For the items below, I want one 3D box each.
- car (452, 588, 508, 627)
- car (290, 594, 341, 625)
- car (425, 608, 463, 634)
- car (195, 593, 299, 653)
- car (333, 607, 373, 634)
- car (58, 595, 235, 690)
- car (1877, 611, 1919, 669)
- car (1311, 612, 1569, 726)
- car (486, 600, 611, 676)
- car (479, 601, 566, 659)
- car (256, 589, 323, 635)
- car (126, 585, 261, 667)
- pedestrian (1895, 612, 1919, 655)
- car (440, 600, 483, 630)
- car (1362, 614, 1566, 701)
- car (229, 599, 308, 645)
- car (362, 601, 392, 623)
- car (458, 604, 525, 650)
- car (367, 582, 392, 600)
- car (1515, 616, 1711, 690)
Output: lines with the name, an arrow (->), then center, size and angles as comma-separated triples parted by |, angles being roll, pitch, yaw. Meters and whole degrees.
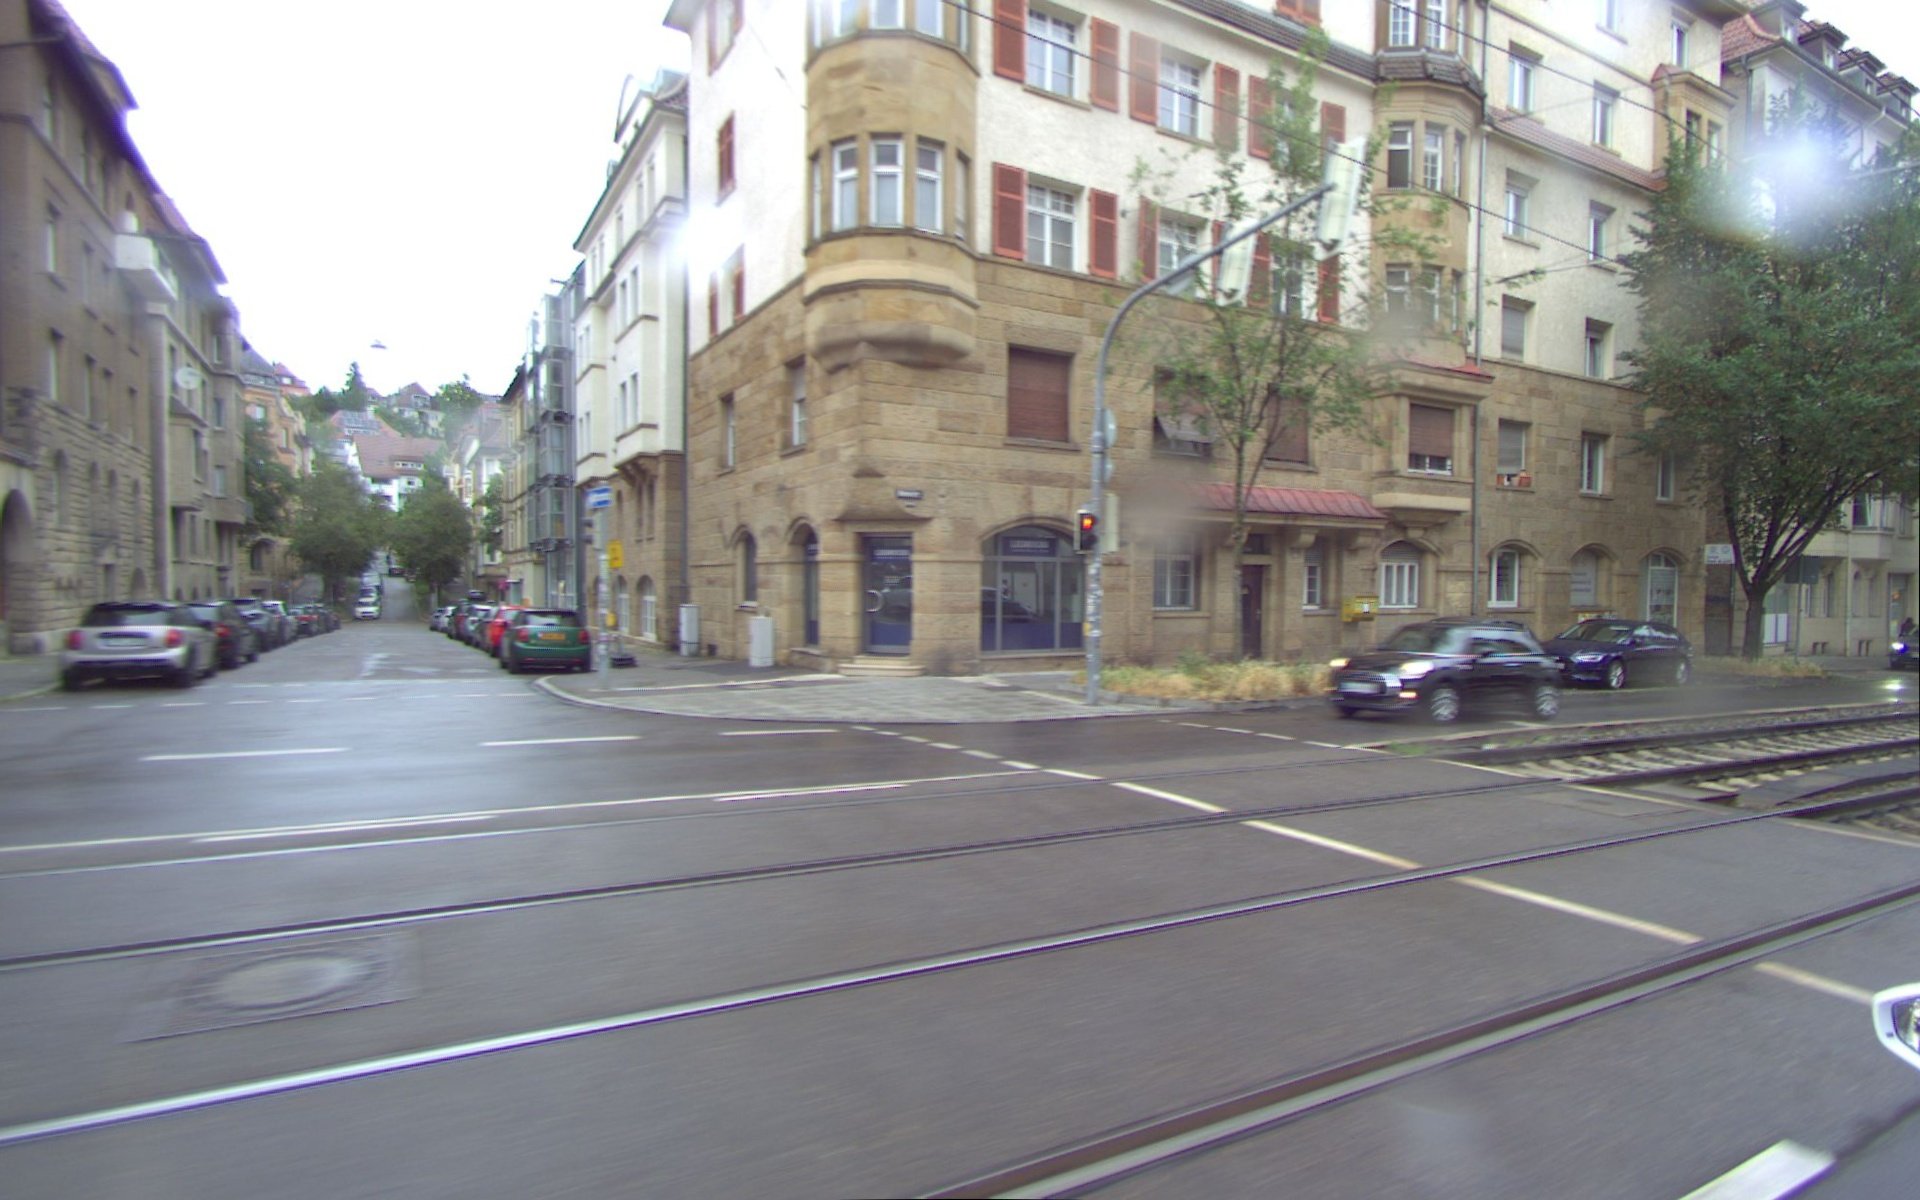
car -> -21.239, 0.316, 44.370 | 1.976, 1.595, 3.969 | 2, -1, -29
car -> -34.650, 0.502, 54.107 | 1.976, 1.595, 3.969 | 2, -1, -29
car -> -32.889, 1.320, 63.981 | 1.976, 1.595, 3.969 | 2, -1, -29
car -> -20.572, 0.652, 29.149 | 1.976, 1.595, 3.969 | 2, -1, -29
car -> -38.545, 1.257, 63.882 | 1.976, 1.595, 3.969 | 2, -1, -29
car -> -14.300, 0.692, 17.896 | 1.726, 1.486, 3.969 | 2, -1, -29
car -> 32.513, 1.344, 33.217 | 4.725, 1.765, 1.942 | 1, 3, -32
car -> 7.073, 0.954, 14.748 | 3.690, 1.482, 1.645 | 1, -1, -30
car -> -9.570, 0.825, 23.200 | 1.979, 1.595, 3.964 | 2, -1, -33
car -> -13.024, 0.853, 29.774 | 1.976, 1.595, 3.969 | 2, -1, -29
car -> -29.612, 0.522, 44.462 | 2.046, 1.932, 3.969 | 2, -1, -29
car -> -16.502, 0.530, 21.818 | 1.979, 1.595, 3.963 | 2, -1, -33
pedestrian -> 38.049, 1.344, 40.181 | 0.762, 1.685, 0.724 | 1, 1, -30
car -> -28.164, 0.843, 56.745 | 1.976, 1.595, 3.969 | 2, -1, -29
car -> 9.983, 1.112, 19.836 | 4.129, 1.549, 1.681 | 2, -1, -32
car -> -25.519, 0.797, 37.210 | 1.976, 1.595, 3.969 | 2, -1, -29
car -> -45.894, 0.926, 79.034 | 1.978, 1.595, 3.966 | 2, -1, -31
car -> -17.606, 0.974, 37.670 | 1.976, 1.595, 3.969 | 2, -1, -29
car -> -54.619, -0.824, 94.486 | 1.978, 1.595, 3.966 | 2, -1, -31
car -> 14.738, 1.182, 22.581 | 4.923, 1.479, 1.771 | 2, -1, -32
